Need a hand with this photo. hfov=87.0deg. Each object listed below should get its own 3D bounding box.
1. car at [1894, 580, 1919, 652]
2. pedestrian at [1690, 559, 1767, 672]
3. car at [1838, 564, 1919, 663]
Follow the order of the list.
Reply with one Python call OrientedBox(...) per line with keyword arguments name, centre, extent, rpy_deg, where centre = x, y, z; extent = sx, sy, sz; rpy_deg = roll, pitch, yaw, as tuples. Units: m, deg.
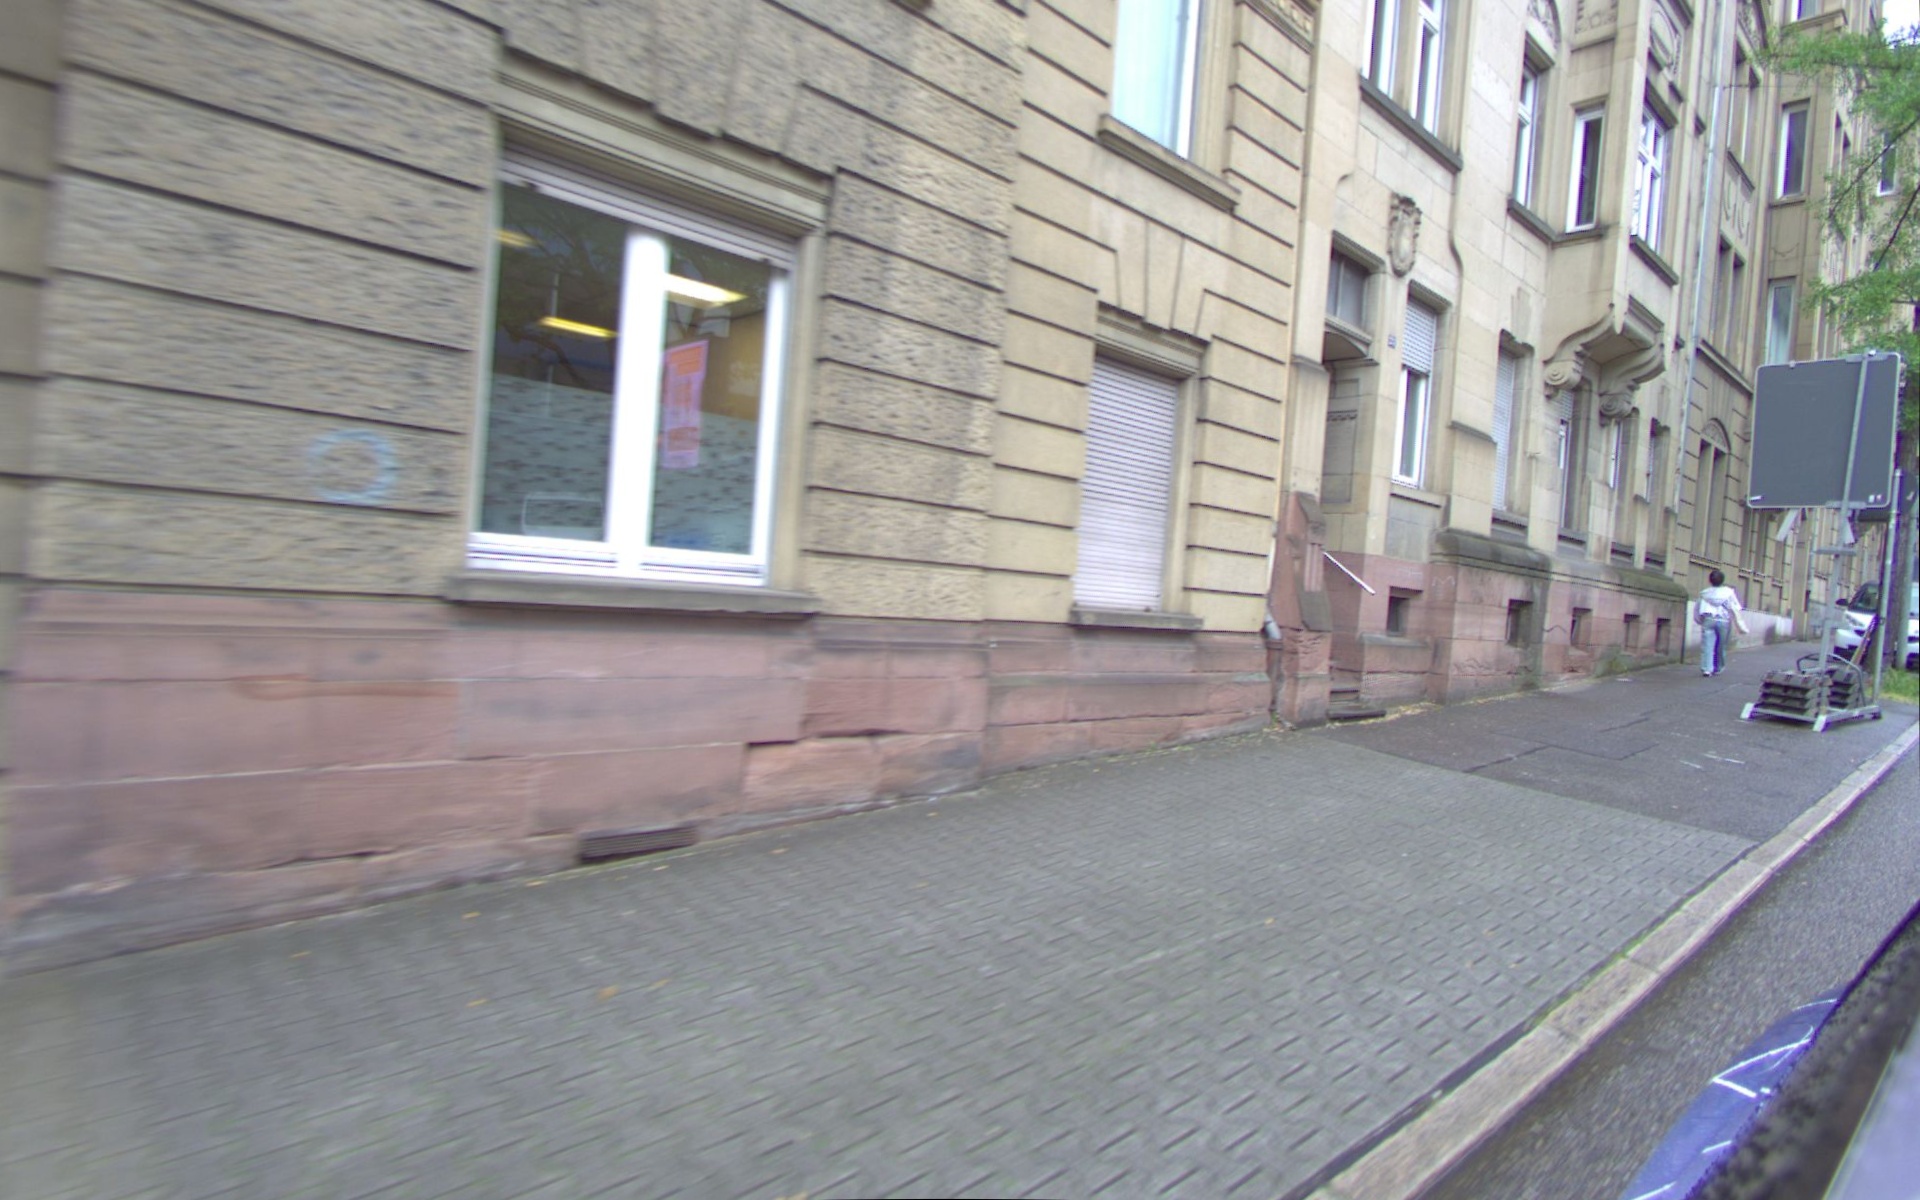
OrientedBox(name="car", centre=(22.175, 0.409, 22.536), extent=(3.698, 1.503, 1.547), rpy_deg=(0, 7, -42))
OrientedBox(name="pedestrian", centre=(11.013, 0.197, 14.509), extent=(0.679, 1.513, 0.645), rpy_deg=(-4, 8, -41))
OrientedBox(name="car", centre=(17.871, 0.249, 18.987), extent=(3.433, 1.636, 1.526), rpy_deg=(0, 7, -42))
